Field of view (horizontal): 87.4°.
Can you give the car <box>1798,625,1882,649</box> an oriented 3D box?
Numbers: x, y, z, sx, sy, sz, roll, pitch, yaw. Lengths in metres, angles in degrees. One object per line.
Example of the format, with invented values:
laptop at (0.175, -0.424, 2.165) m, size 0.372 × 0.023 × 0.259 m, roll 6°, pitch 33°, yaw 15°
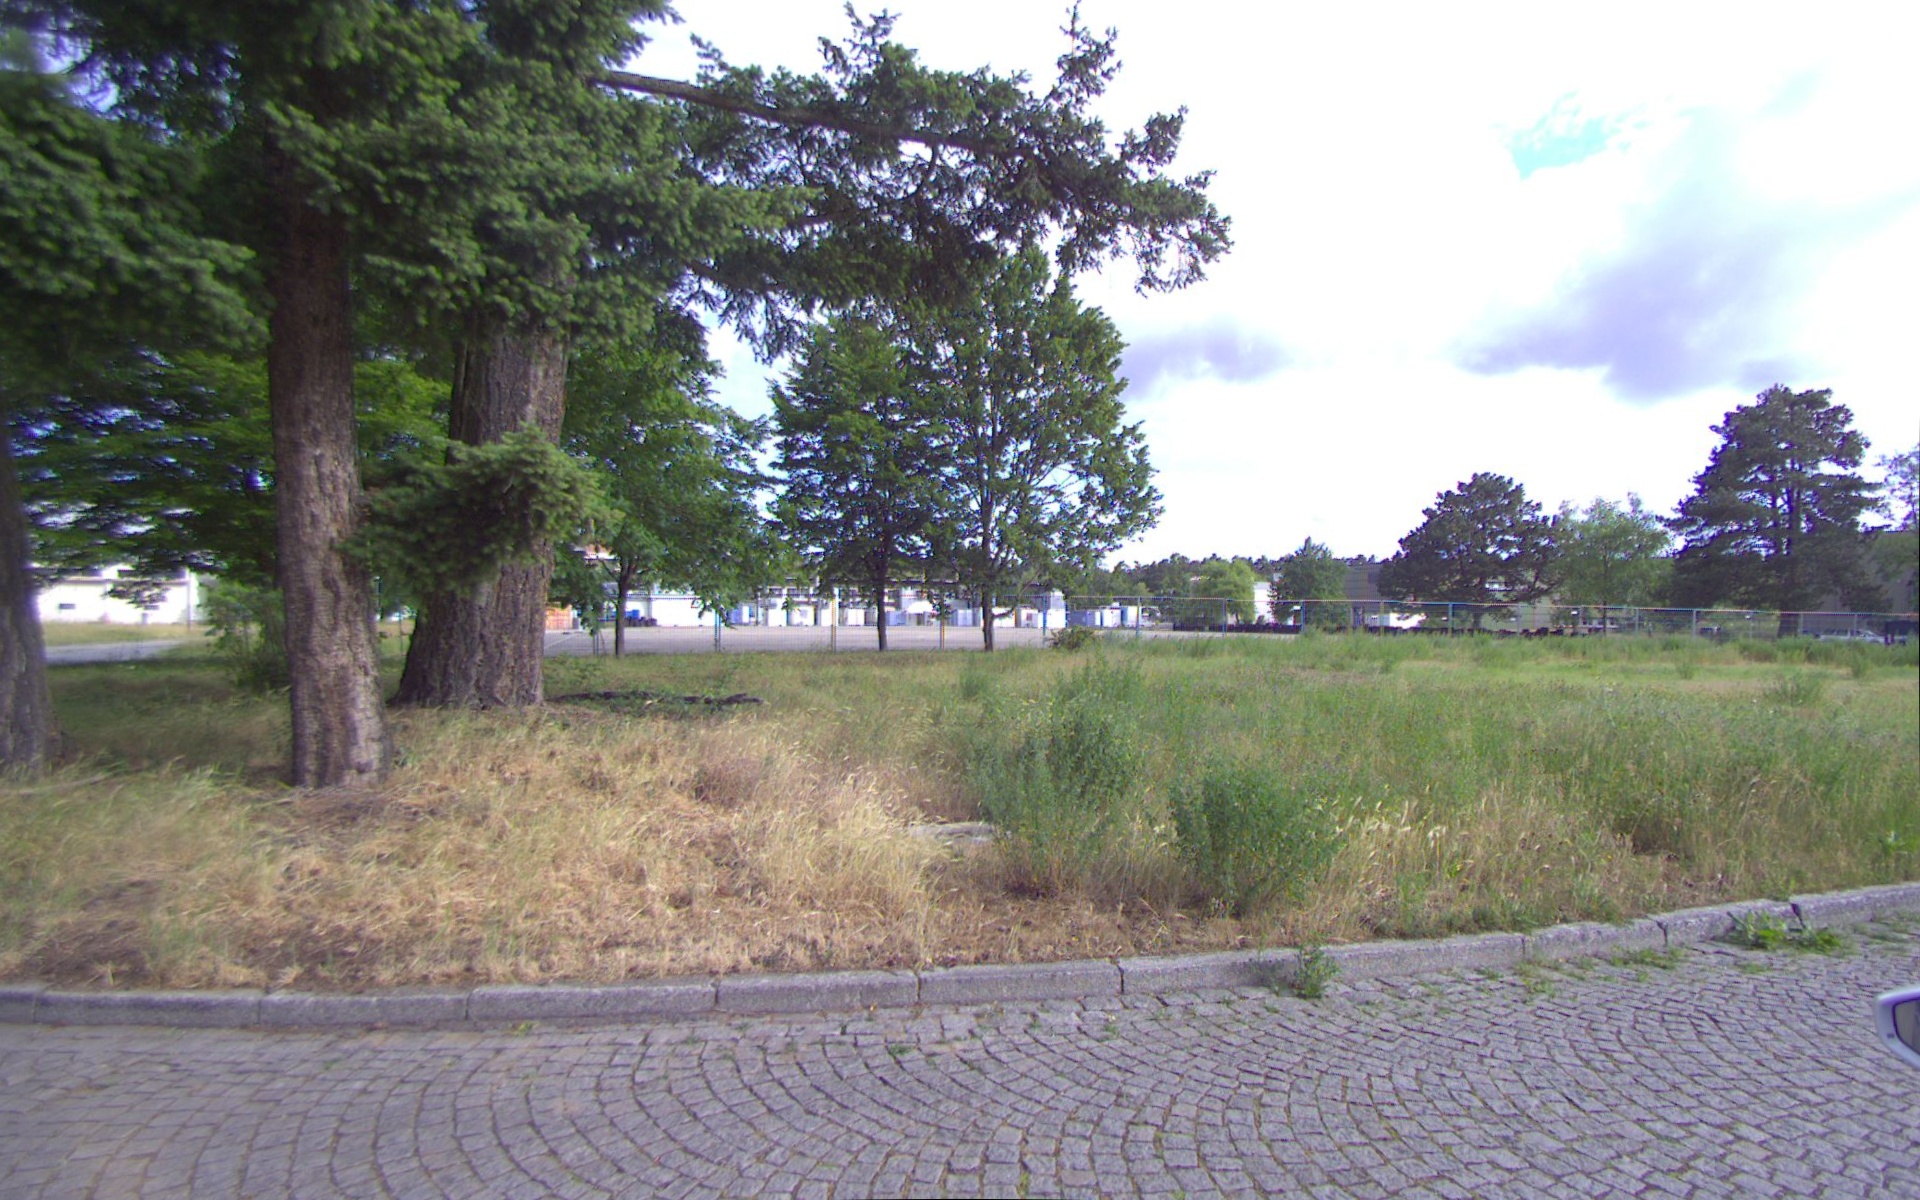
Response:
car at (60.010, 2.511, 68.537) m, size 1.781 × 1.574 × 3.983 m, roll 1°, pitch -1°, yaw -19°
